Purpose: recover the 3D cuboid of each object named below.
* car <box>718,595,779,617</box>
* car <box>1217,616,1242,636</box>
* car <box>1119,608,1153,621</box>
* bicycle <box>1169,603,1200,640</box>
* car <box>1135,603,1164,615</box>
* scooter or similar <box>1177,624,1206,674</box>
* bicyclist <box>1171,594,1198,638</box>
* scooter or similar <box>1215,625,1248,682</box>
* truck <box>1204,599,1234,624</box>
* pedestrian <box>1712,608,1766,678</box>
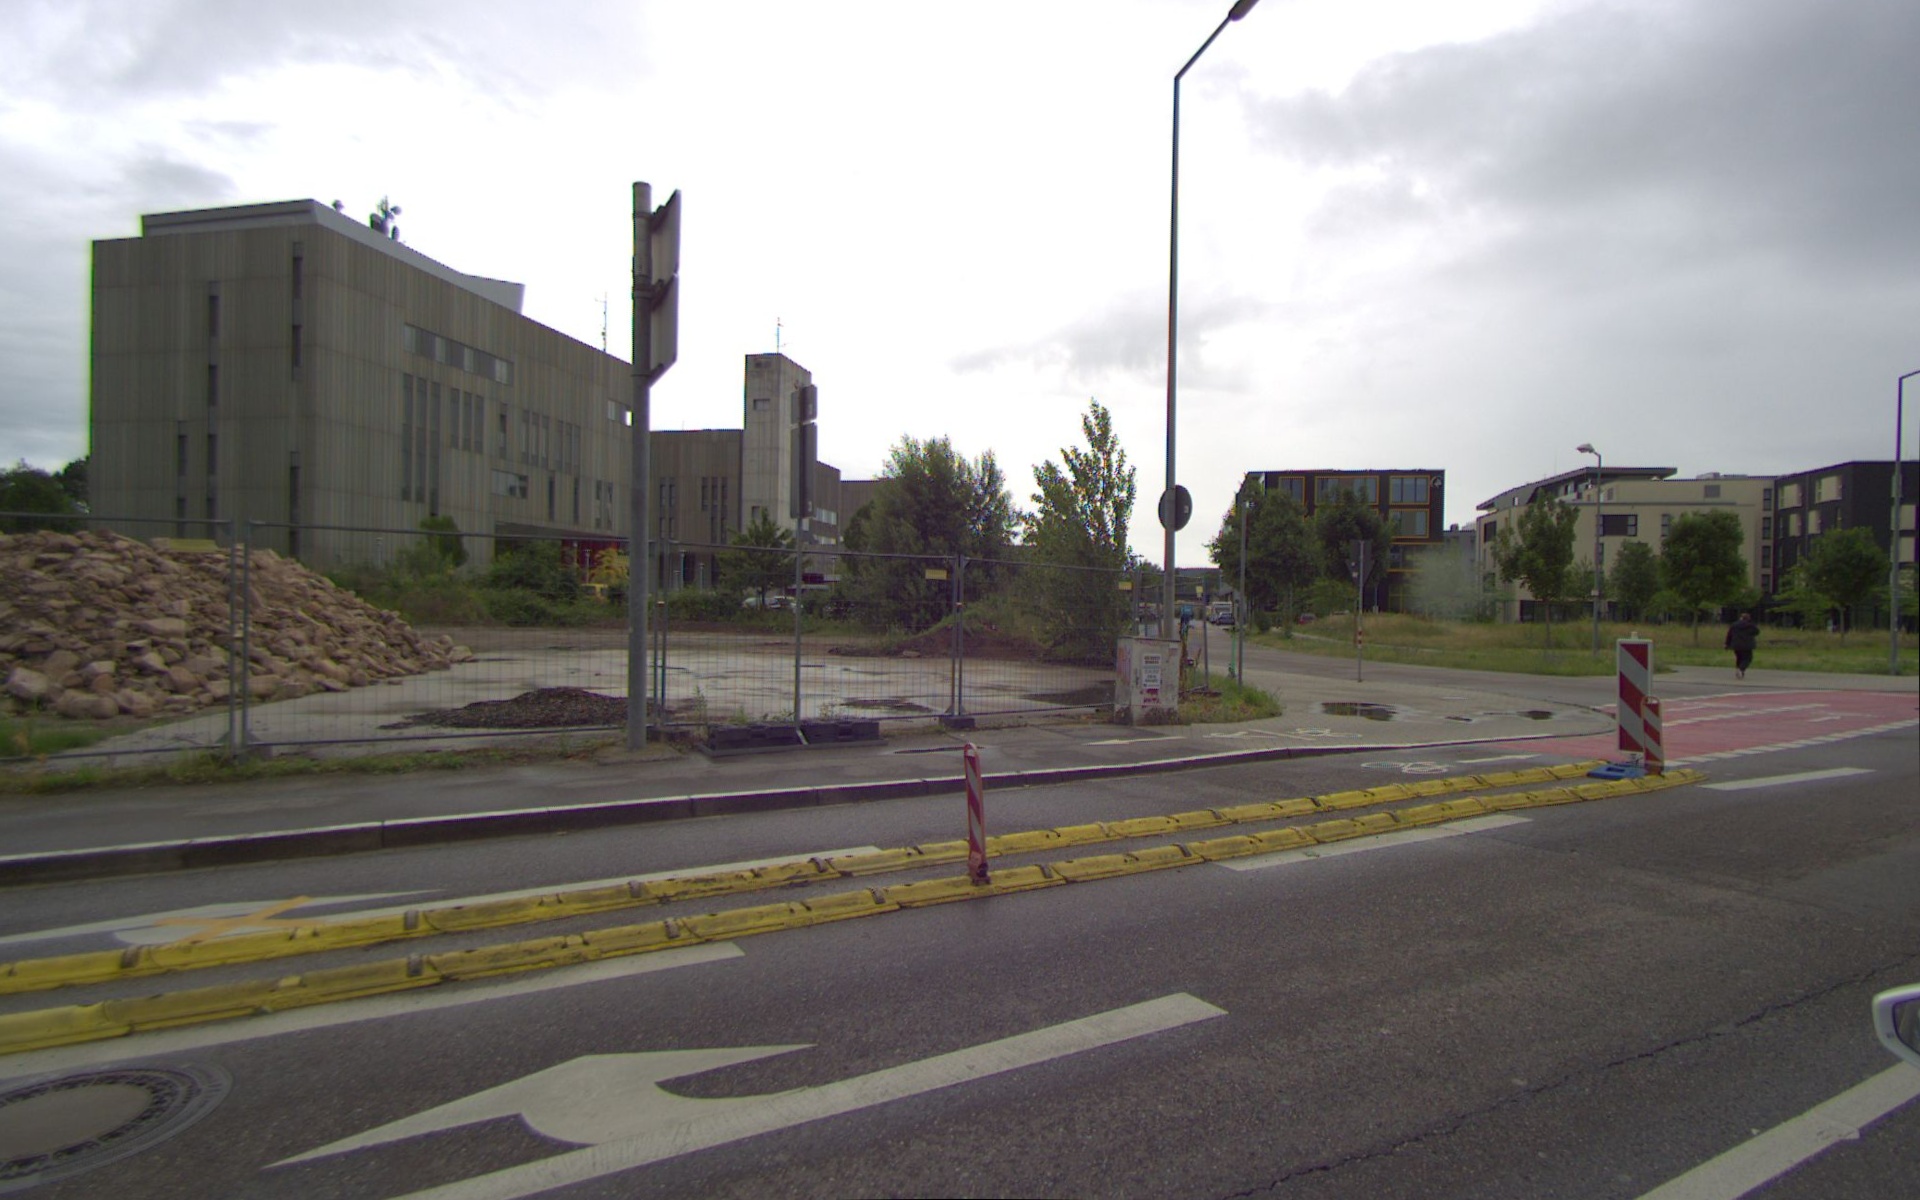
[{"bbox_3d":[-15.286,0.463,72.746,3.963,1.528,1.722,1,0,-38],"label":"car"},{"bbox_3d":[28.215,2.693,105.241,2.162,1.889,5.101,0,0,10],"label":"car"},{"bbox_3d":[20.977,1.744,119.954,3.919,1.544,1.812,0,-2,6],"label":"car"},{"bbox_3d":[10.023,0.929,44.914,1.064,1.605,2.501,0,0,7],"label":"bicycle"},{"bbox_3d":[29.134,1.356,154.790,4.169,1.795,2.001,1,0,5],"label":"car"},{"bbox_3d":[5.773,1.211,25.121,0.403,1.157,1.338,2,0,1],"label":"scooter or similar"},{"bbox_3d":[10.028,0.702,44.943,1.055,1.925,1.403,0,0,7],"label":"bicyclist"},{"bbox_3d":[6.080,1.170,22.414,0.644,1.157,1.904,2,0,16],"label":"scooter or similar"},{"bbox_3d":[29.547,1.267,114.844,2.782,2.742,7.323,0,0,10],"label":"truck"},{"bbox_3d":[20.863,1.132,26.909,1.066,1.806,0.839,0,0,-33],"label":"pedestrian"}]
